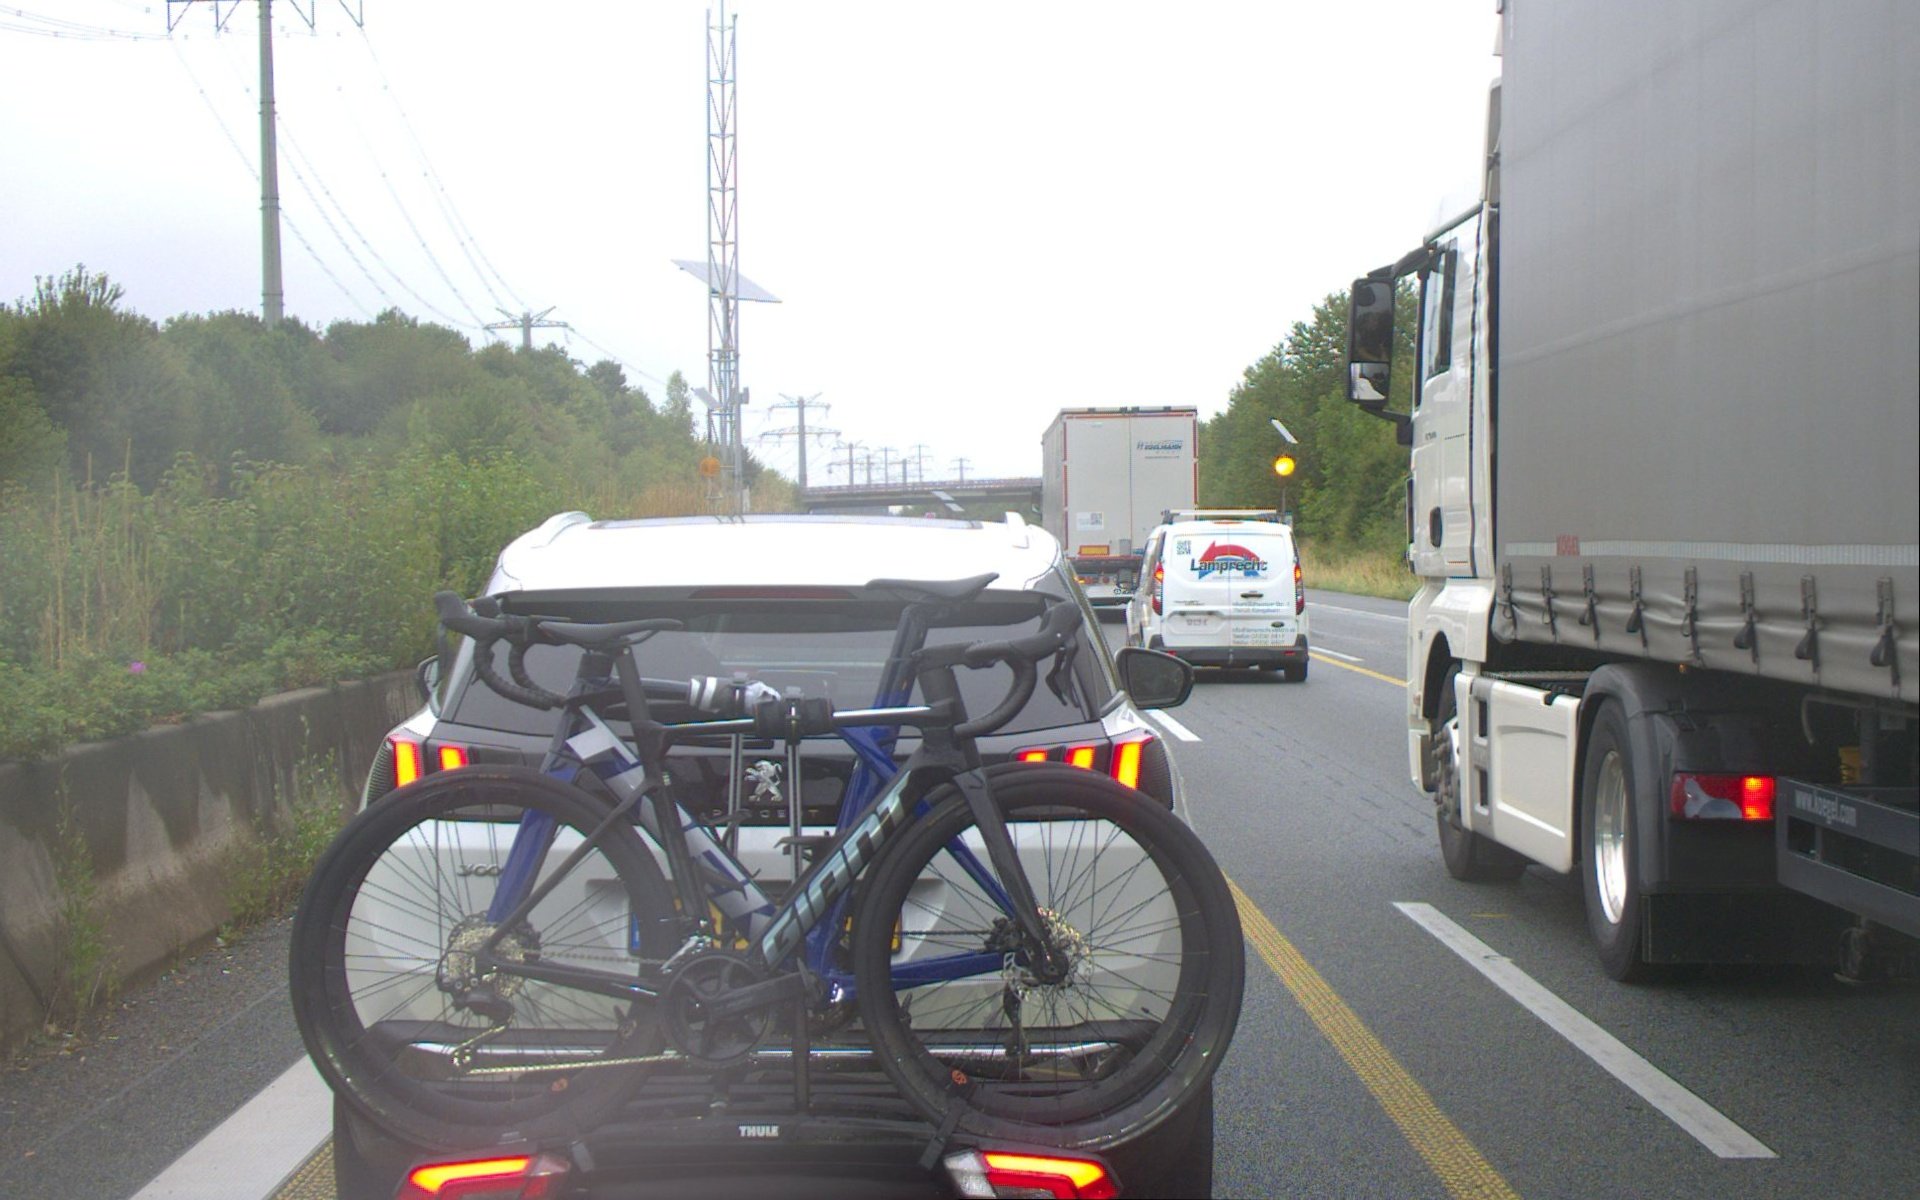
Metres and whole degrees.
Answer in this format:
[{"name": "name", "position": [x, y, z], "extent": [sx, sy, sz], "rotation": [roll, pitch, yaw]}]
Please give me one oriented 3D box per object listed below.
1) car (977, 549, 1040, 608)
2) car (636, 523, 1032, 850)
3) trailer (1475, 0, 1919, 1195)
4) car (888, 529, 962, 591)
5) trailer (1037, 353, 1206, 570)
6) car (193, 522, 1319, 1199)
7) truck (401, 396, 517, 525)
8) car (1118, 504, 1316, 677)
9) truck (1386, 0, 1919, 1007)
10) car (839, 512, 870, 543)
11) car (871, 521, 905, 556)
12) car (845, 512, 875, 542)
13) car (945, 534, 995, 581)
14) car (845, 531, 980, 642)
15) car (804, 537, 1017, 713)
[{"name": "car", "position": [1.687, -0.770, 120.799], "extent": [2.110, 1.966, 4.001], "rotation": [0, 2, -1]}, {"name": "car", "position": [-0.613, 0.369, 18.089], "extent": [1.850, 1.525, 4.000], "rotation": [0, 1, -1]}, {"name": "trailer", "position": [3.523, -0.712, 7.088], "extent": [2.706, 4.132, 13.733], "rotation": [0, 1, -1]}, {"name": "car", "position": [-0.893, -1.036, 87.490], "extent": [1.850, 1.525, 4.000], "rotation": [0, 1, -1]}, {"name": "trailer", "position": [3.179, -2.717, 71.159], "extent": [2.692, 4.062, 13.634], "rotation": [0, 1, -1]}, {"name": "car", "position": [-0.363, 0.592, 8.045], "extent": [1.850, 1.525, 4.769], "rotation": [0, 1, -1]}, {"name": "truck", "position": [-16.763, -4.609, 115.410], "extent": [2.785, 4.010, 7.234], "rotation": [-3, 1, -1]}, {"name": "car", "position": [2.835, -0.141, 38.841], "extent": [1.829, 1.833, 4.656], "rotation": [0, 1, -1]}, {"name": "truck", "position": [3.456, -0.810, 13.830], "extent": [2.706, 4.124, 5.691], "rotation": [0, 1, -1]}, {"name": "car", "position": [-6.730, -4.665, 219.587], "extent": [1.931, 1.904, 4.001], "rotation": [0, 2, -1]}, {"name": "car", "position": [-4.202, -3.593, 201.610], "extent": [1.931, 1.966, 4.001], "rotation": [0, 2, -1]}, {"name": "car", "position": [-6.742, -4.959, 232.330], "extent": [1.931, 1.966, 4.001], "rotation": [0, 2, -1]}, {"name": "car", "position": [0.408, -1.903, 151.785], "extent": [2.148, 1.966, 4.001], "rotation": [0, 2, -1]}, {"name": "car", "position": [-0.672, -0.220, 49.171], "extent": [1.850, 1.525, 4.000], "rotation": [0, 1, -1]}, {"name": "car", "position": [-0.450, 0.181, 31.875], "extent": [1.850, 1.525, 4.000], "rotation": [0, 1, -1]}]
